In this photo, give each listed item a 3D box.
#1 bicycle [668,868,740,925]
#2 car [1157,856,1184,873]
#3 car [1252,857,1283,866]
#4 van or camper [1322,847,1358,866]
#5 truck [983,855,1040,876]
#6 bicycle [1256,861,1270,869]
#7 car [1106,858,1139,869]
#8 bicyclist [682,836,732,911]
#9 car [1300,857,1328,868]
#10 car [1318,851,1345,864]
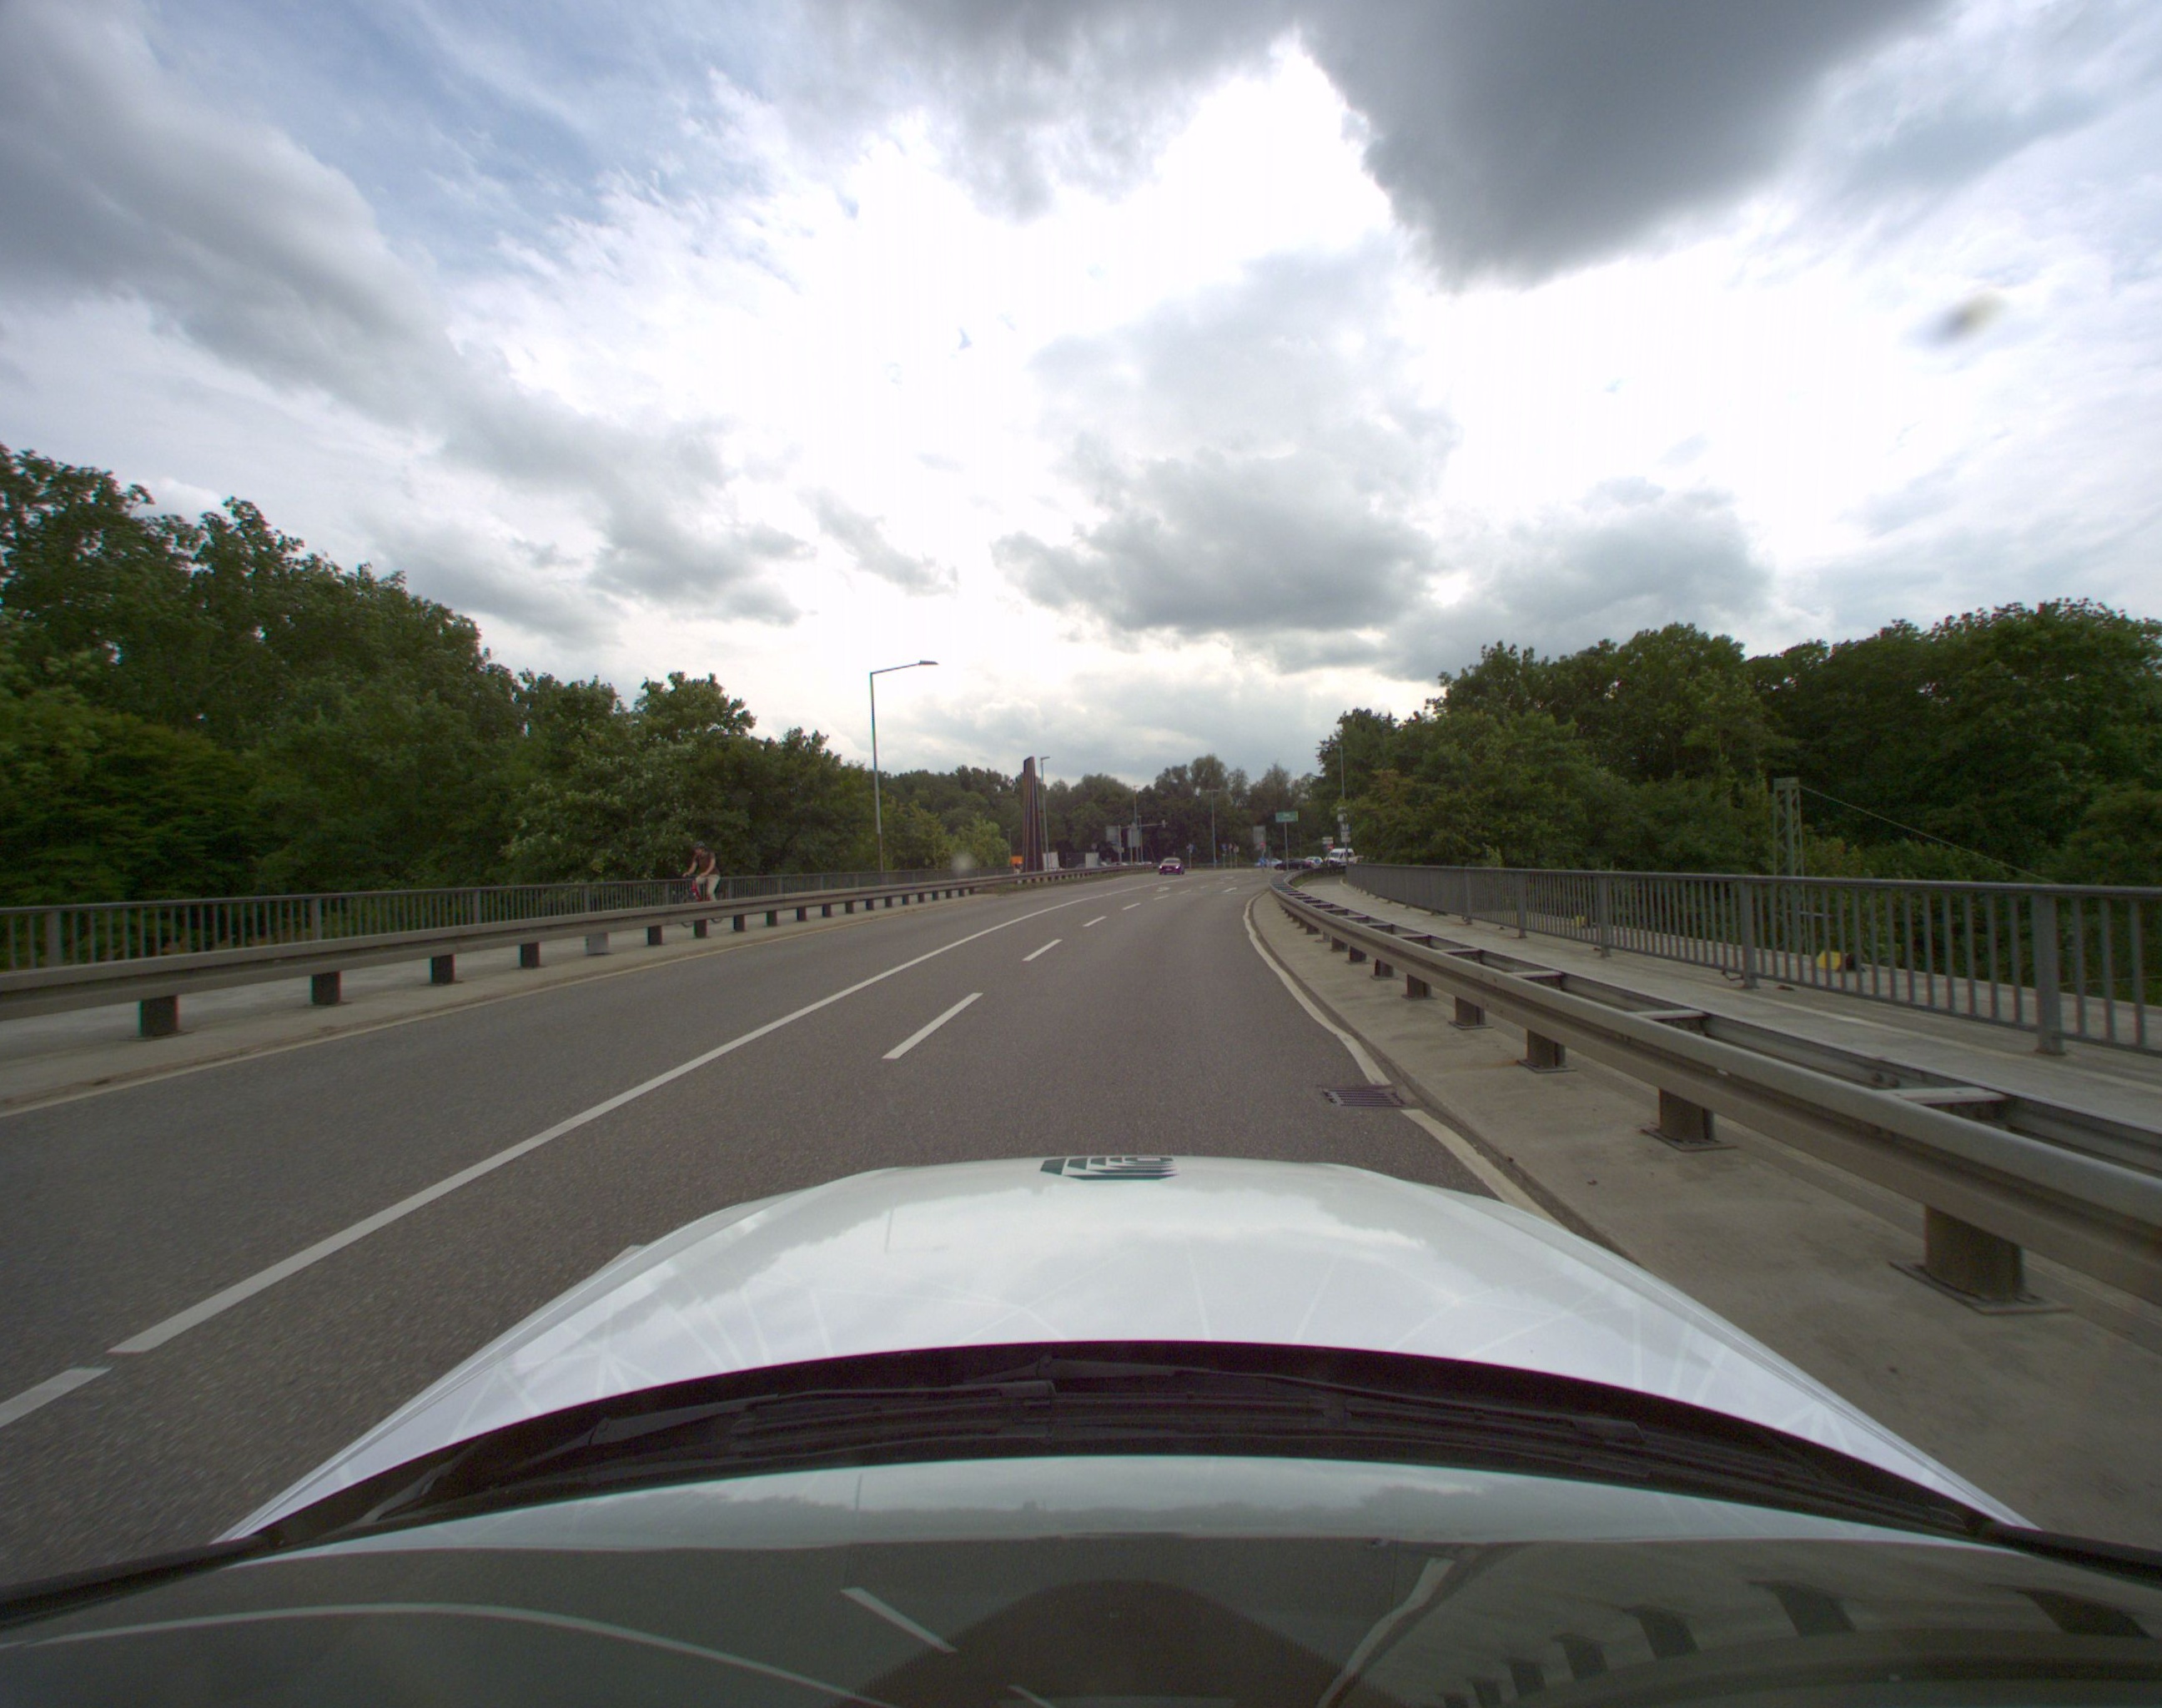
[{"bbox_3d":[-8.279,0.904,17.959,0.632,1.174,1.907,-1,-1,2],"label":"bicycle"},{"bbox_3d":[7.777,0.890,70.212,1.783,1.472,4.652,-1,-1,13],"label":"car"},{"bbox_3d":[27.929,1.138,121.904,4.236,1.205,1.981,0,-1,-30],"label":"car"},{"bbox_3d":[37.107,0.375,116.383,2.140,2.589,6.533,-1,-1,45],"label":"van or camper"},{"bbox_3d":[-10.408,1.722,121.648,9.157,3.136,2.990,-1,-1,41],"label":"truck"},{"bbox_3d":[25.475,1.509,114.089,0.711,1.053,1.922,0,-3,-38],"label":"bicycle"},{"bbox_3d":[5.358,1.214,105.300,3.758,1.310,2.012,-1,-1,42],"label":"car"},{"bbox_3d":[-8.298,0.425,18.102,0.768,1.631,0.650,-1,-2,5],"label":"bicyclist"},{"bbox_3d":[33.649,1.278,117.547,1.975,1.547,4.566,-1,-1,44],"label":"car"},{"bbox_3d":[37.370,0.459,121.219,4.190,1.902,1.976,0,-1,-42],"label":"car"}]
